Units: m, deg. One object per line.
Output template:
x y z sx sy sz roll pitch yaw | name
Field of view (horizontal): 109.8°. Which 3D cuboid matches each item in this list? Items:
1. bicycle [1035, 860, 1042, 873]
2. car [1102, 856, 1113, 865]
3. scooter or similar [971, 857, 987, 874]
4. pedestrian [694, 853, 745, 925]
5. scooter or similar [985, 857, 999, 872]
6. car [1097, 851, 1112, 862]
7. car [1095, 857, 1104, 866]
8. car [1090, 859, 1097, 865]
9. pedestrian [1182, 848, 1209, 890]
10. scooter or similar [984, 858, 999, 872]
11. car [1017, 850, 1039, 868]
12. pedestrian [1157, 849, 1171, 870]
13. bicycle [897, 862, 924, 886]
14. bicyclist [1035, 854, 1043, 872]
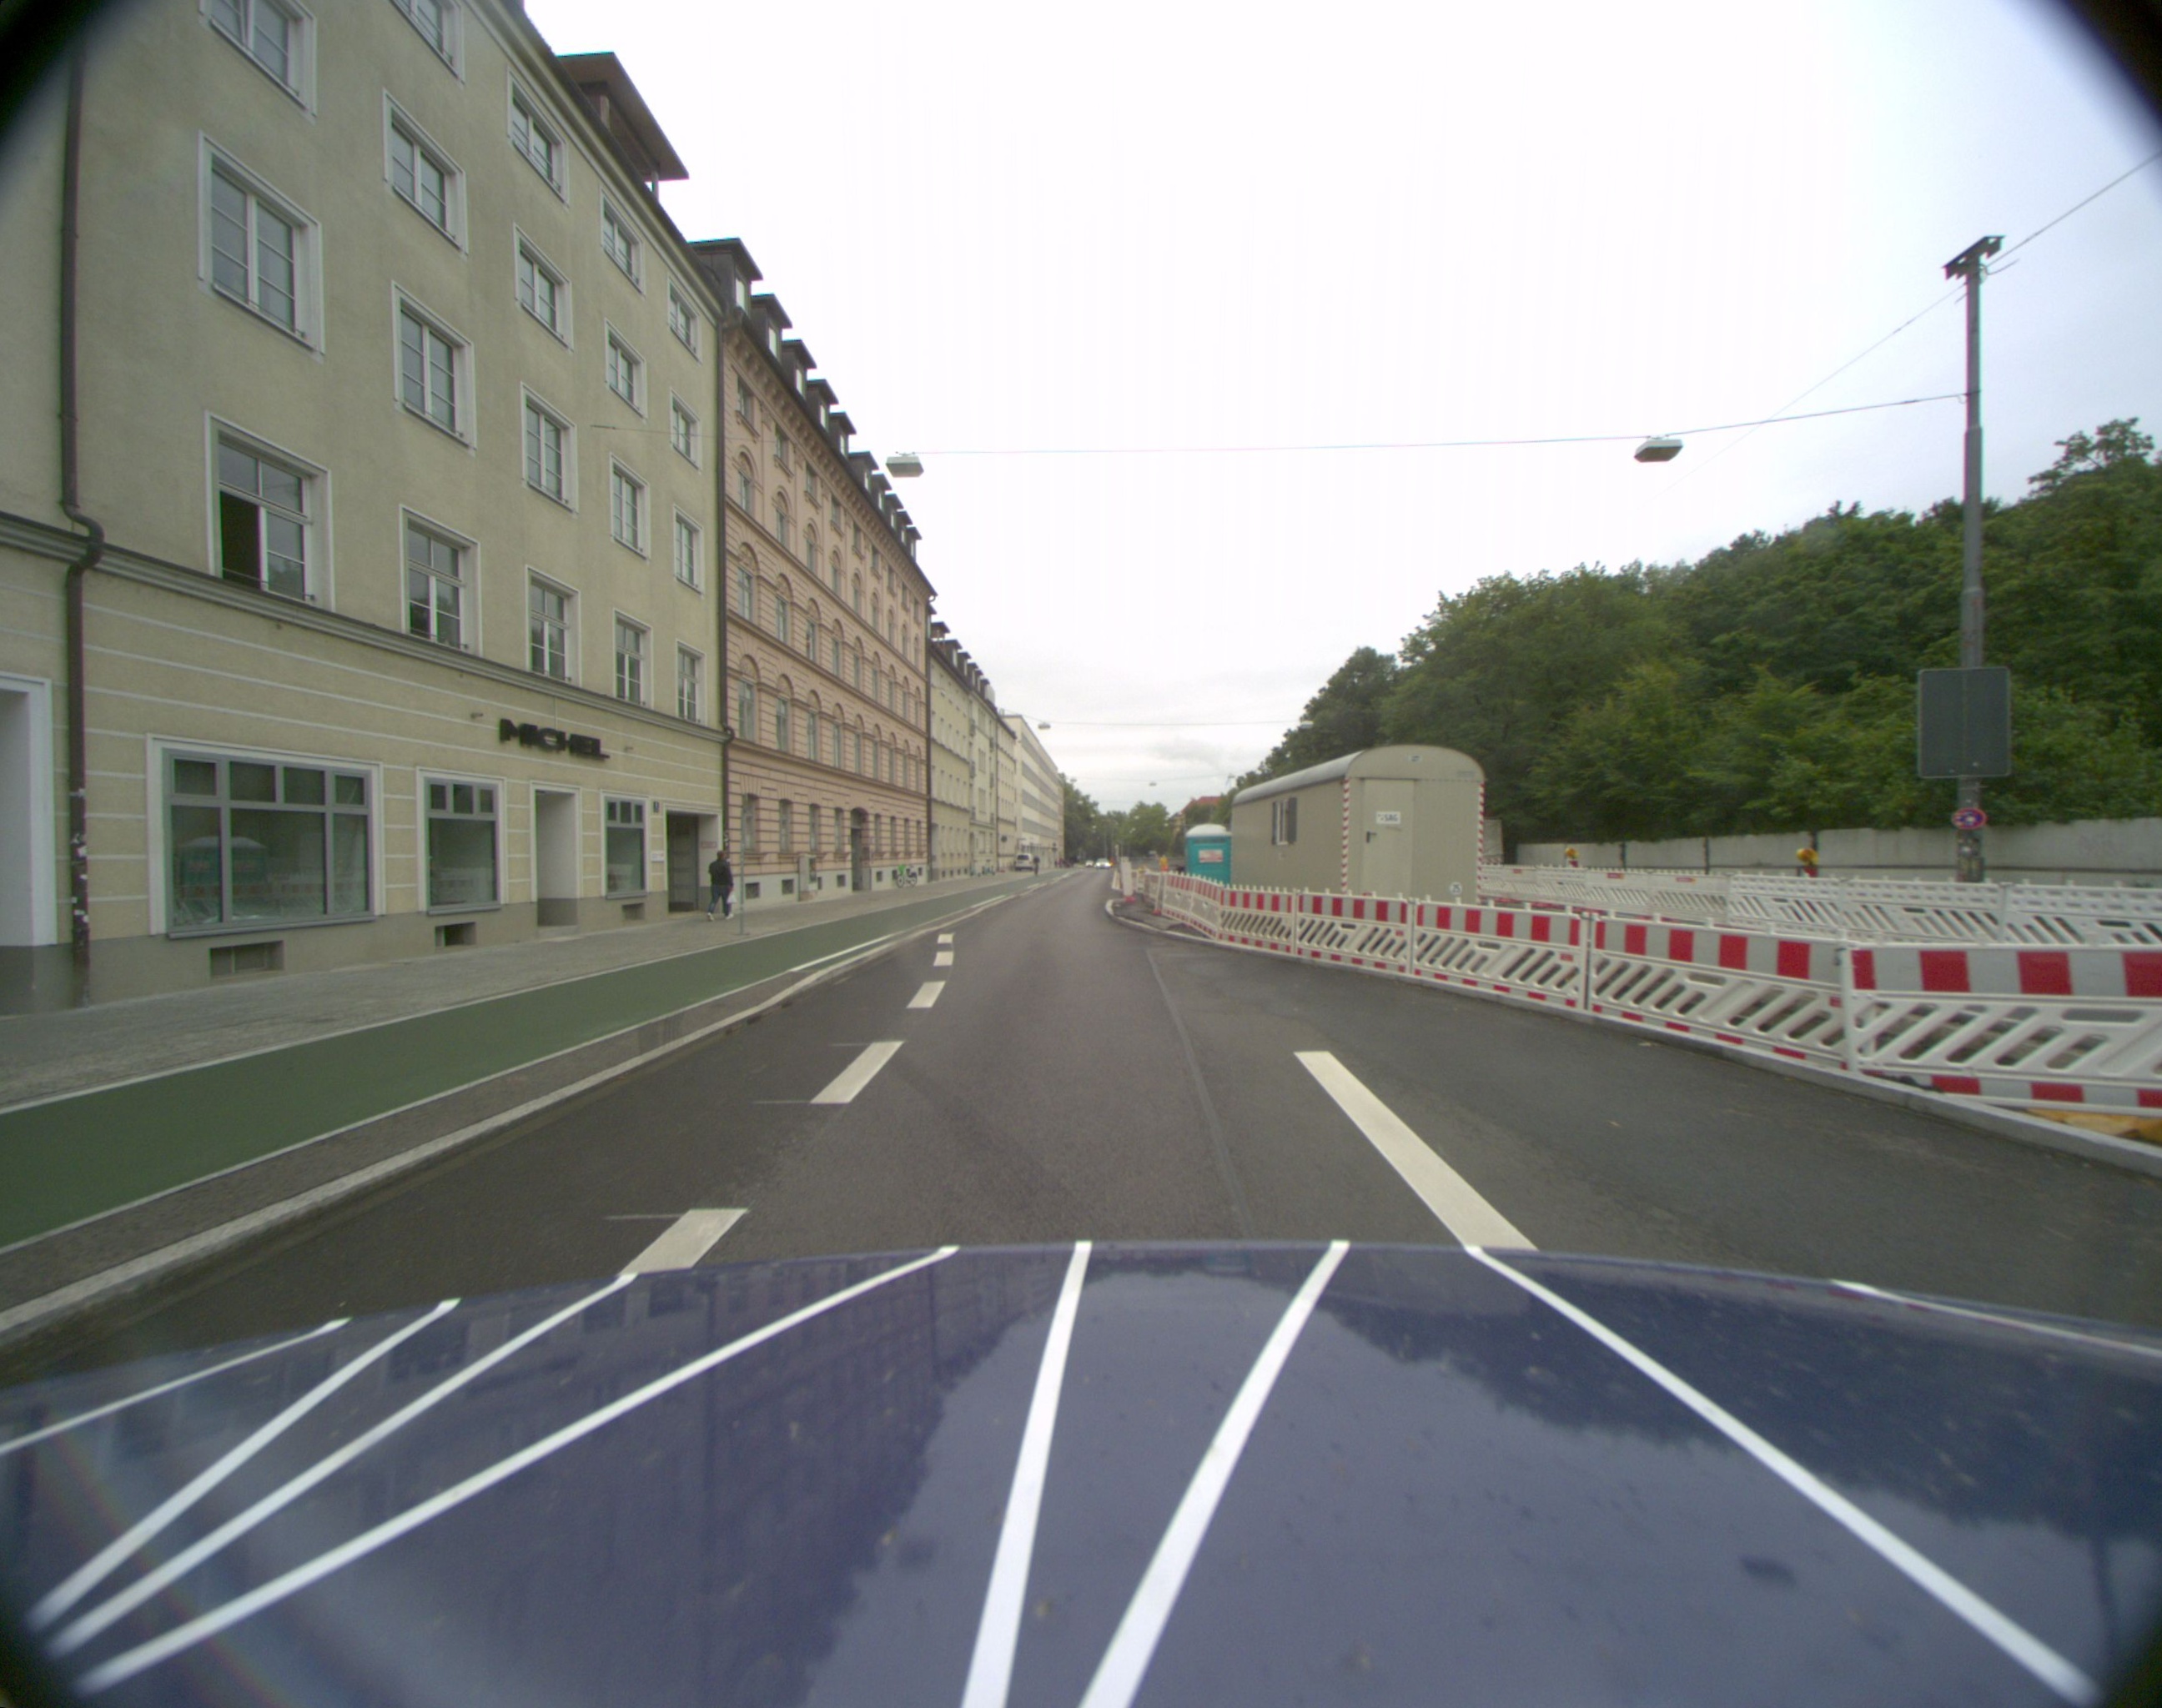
-3.569 1.036 63.695 0.632 1.031 2.017 -1 0 -4 | bicycle
4.736 1.150 137.995 1.759 1.461 3.999 -2 0 -1 | car
-7.598 0.870 56.429 0.552 1.238 1.079 0 1 37 | scooter or similar
-8.909 0.841 18.757 0.795 1.735 0.833 -1 1 3 | pedestrian
-7.167 0.876 61.245 1.078 1.185 0.453 -1 1 -27 | scooter or similar
3.261 0.367 103.858 1.758 1.461 4.001 -2 0 5 | car
4.623 1.851 187.736 1.998 2.002 3.999 -2 1 1 | car
3.753 2.317 226.380 1.998 1.560 4.000 -1 0 2 | car
5.024 0.660 33.422 0.815 1.793 0.991 0 3 -16 | pedestrian
-7.373 0.887 62.592 1.079 1.185 0.436 -1 1 -37 | scooter or similar
-5.474 0.518 78.775 1.765 1.821 4.000 -1 0 2 | car
7.079 0.475 64.681 0.861 1.826 0.873 -1 1 -21 | pedestrian
-8.508 0.985 37.973 0.556 1.170 1.727 0 0 17 | bicycle
-3.503 0.737 63.713 0.632 1.459 0.652 -1 1 -4 | bicyclist
